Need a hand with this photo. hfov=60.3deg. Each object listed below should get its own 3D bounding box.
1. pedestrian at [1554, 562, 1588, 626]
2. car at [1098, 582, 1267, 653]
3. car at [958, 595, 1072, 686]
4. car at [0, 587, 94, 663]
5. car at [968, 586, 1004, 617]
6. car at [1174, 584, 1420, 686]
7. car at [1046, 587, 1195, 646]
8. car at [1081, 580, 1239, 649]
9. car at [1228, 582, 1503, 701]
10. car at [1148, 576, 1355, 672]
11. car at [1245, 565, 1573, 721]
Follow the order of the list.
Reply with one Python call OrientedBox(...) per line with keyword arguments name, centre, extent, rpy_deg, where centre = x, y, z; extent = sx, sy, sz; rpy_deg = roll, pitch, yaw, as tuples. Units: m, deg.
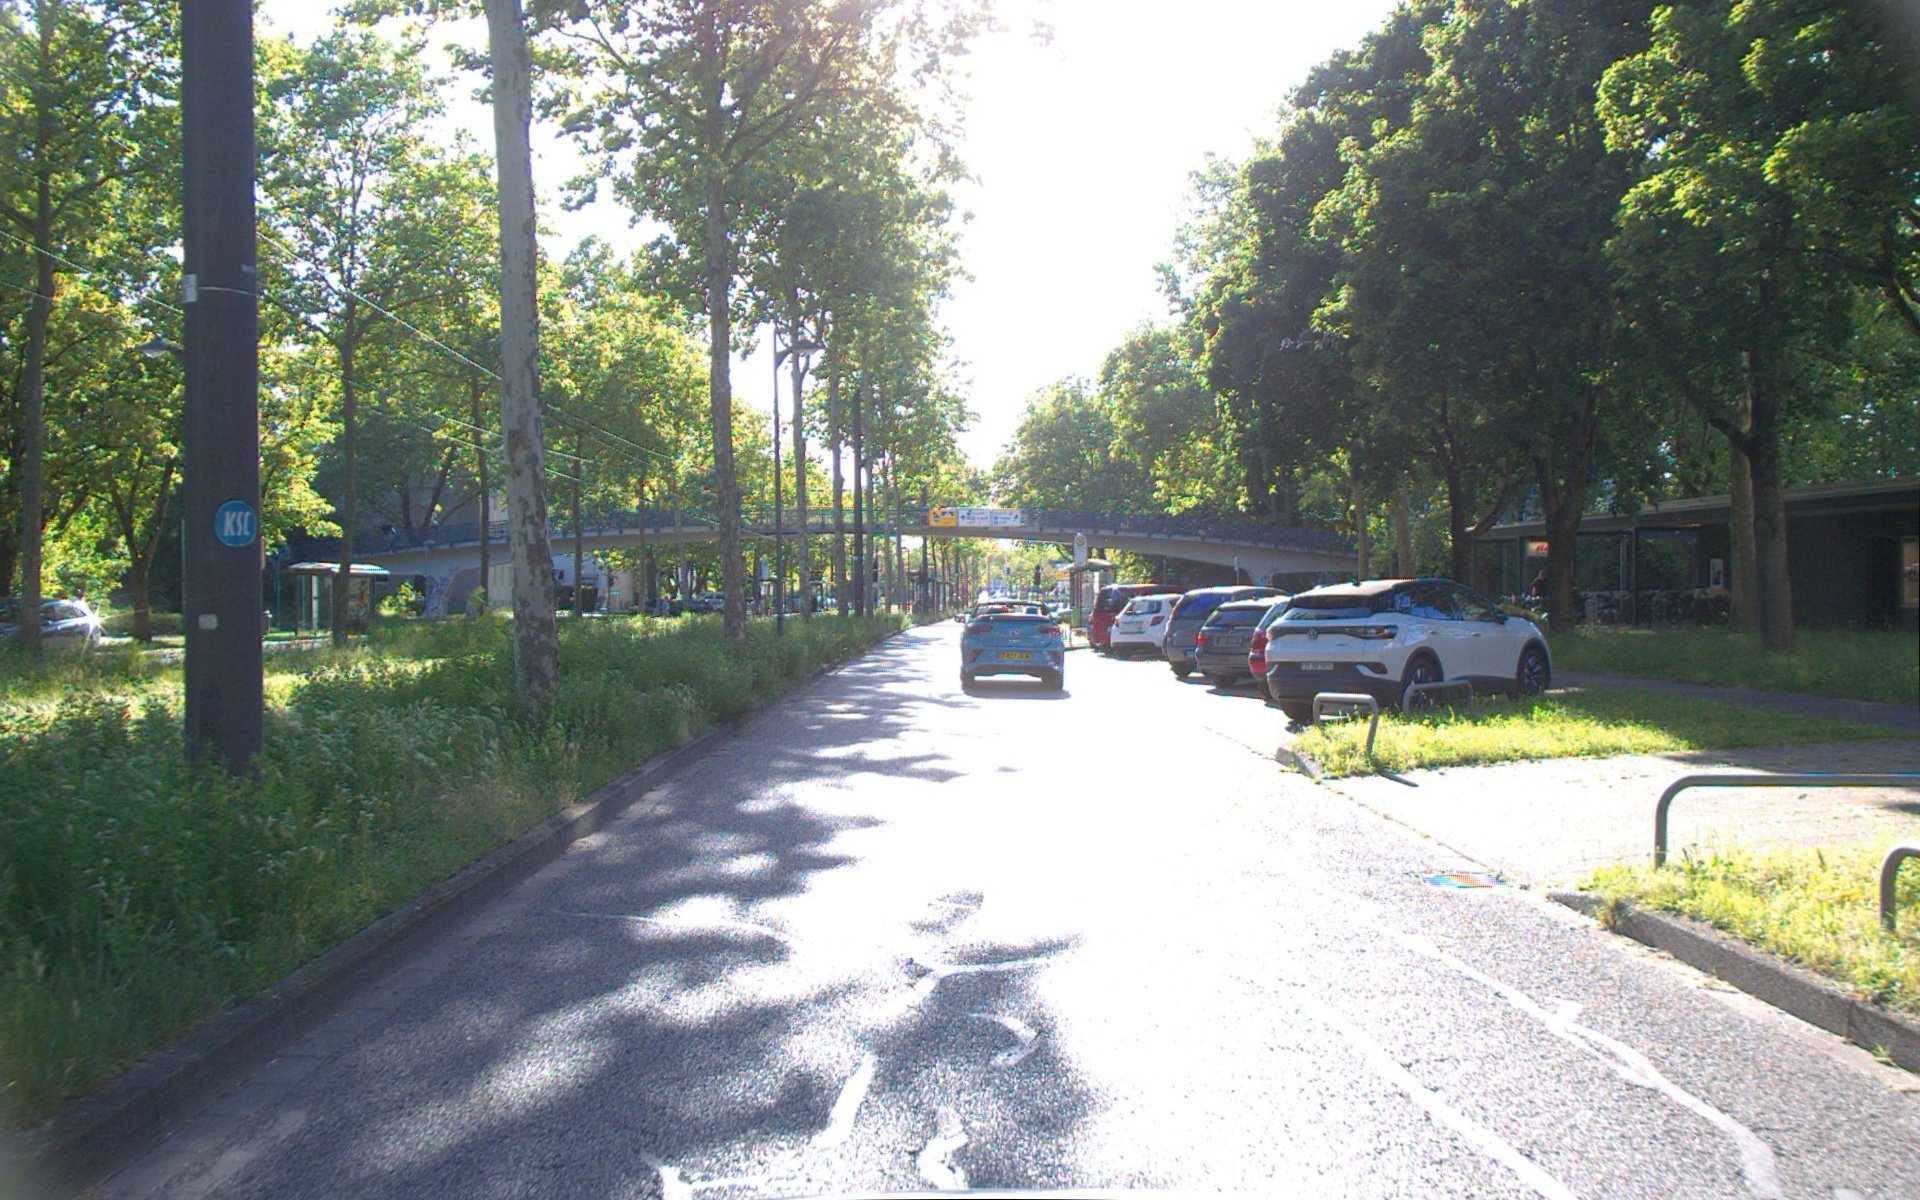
OrientedBox(name="pedestrian", centre=(19.922, -0.206, 53.934), extent=(0.815, 2.049, 0.739), rpy_deg=(0, 0, -41))
OrientedBox(name="car", centre=(5.712, 0.418, 42.130), extent=(4.588, 1.710, 1.827), rpy_deg=(0, 0, -44))
OrientedBox(name="car", centre=(0.909, 0.661, 29.281), extent=(1.883, 1.435, 4.000), rpy_deg=(1, 1, 0))
OrientedBox(name="car", centre=(-22.312, 0.544, 38.751), extent=(1.750, 1.617, 4.168), rpy_deg=(2, 0, 1))
OrientedBox(name="car", centre=(1.445, 0.079, 94.197), extent=(1.953, 1.679, 4.000), rpy_deg=(1, 1, 0))
OrientedBox(name="car", centre=(5.772, 0.530, 27.976), extent=(4.588, 1.548, 1.827), rpy_deg=(-1, 0, -44))
OrientedBox(name="car", centre=(4.735, 0.467, 48.347), extent=(4.588, 1.642, 1.827), rpy_deg=(0, 0, -44))
OrientedBox(name="car", centre=(5.550, 0.375, 45.534), extent=(4.588, 1.799, 1.827), rpy_deg=(0, 0, -44))
OrientedBox(name="car", centre=(6.136, 0.561, 24.711), extent=(4.588, 1.597, 1.827), rpy_deg=(0, 1, -44))
OrientedBox(name="car", centre=(5.684, 0.426, 31.819), extent=(1.823, 1.710, 4.585), rpy_deg=(-3, -1, 40))
OrientedBox(name="car", centre=(5.638, 0.475, 20.442), extent=(4.588, 1.710, 1.827), rpy_deg=(0, 0, -44))
